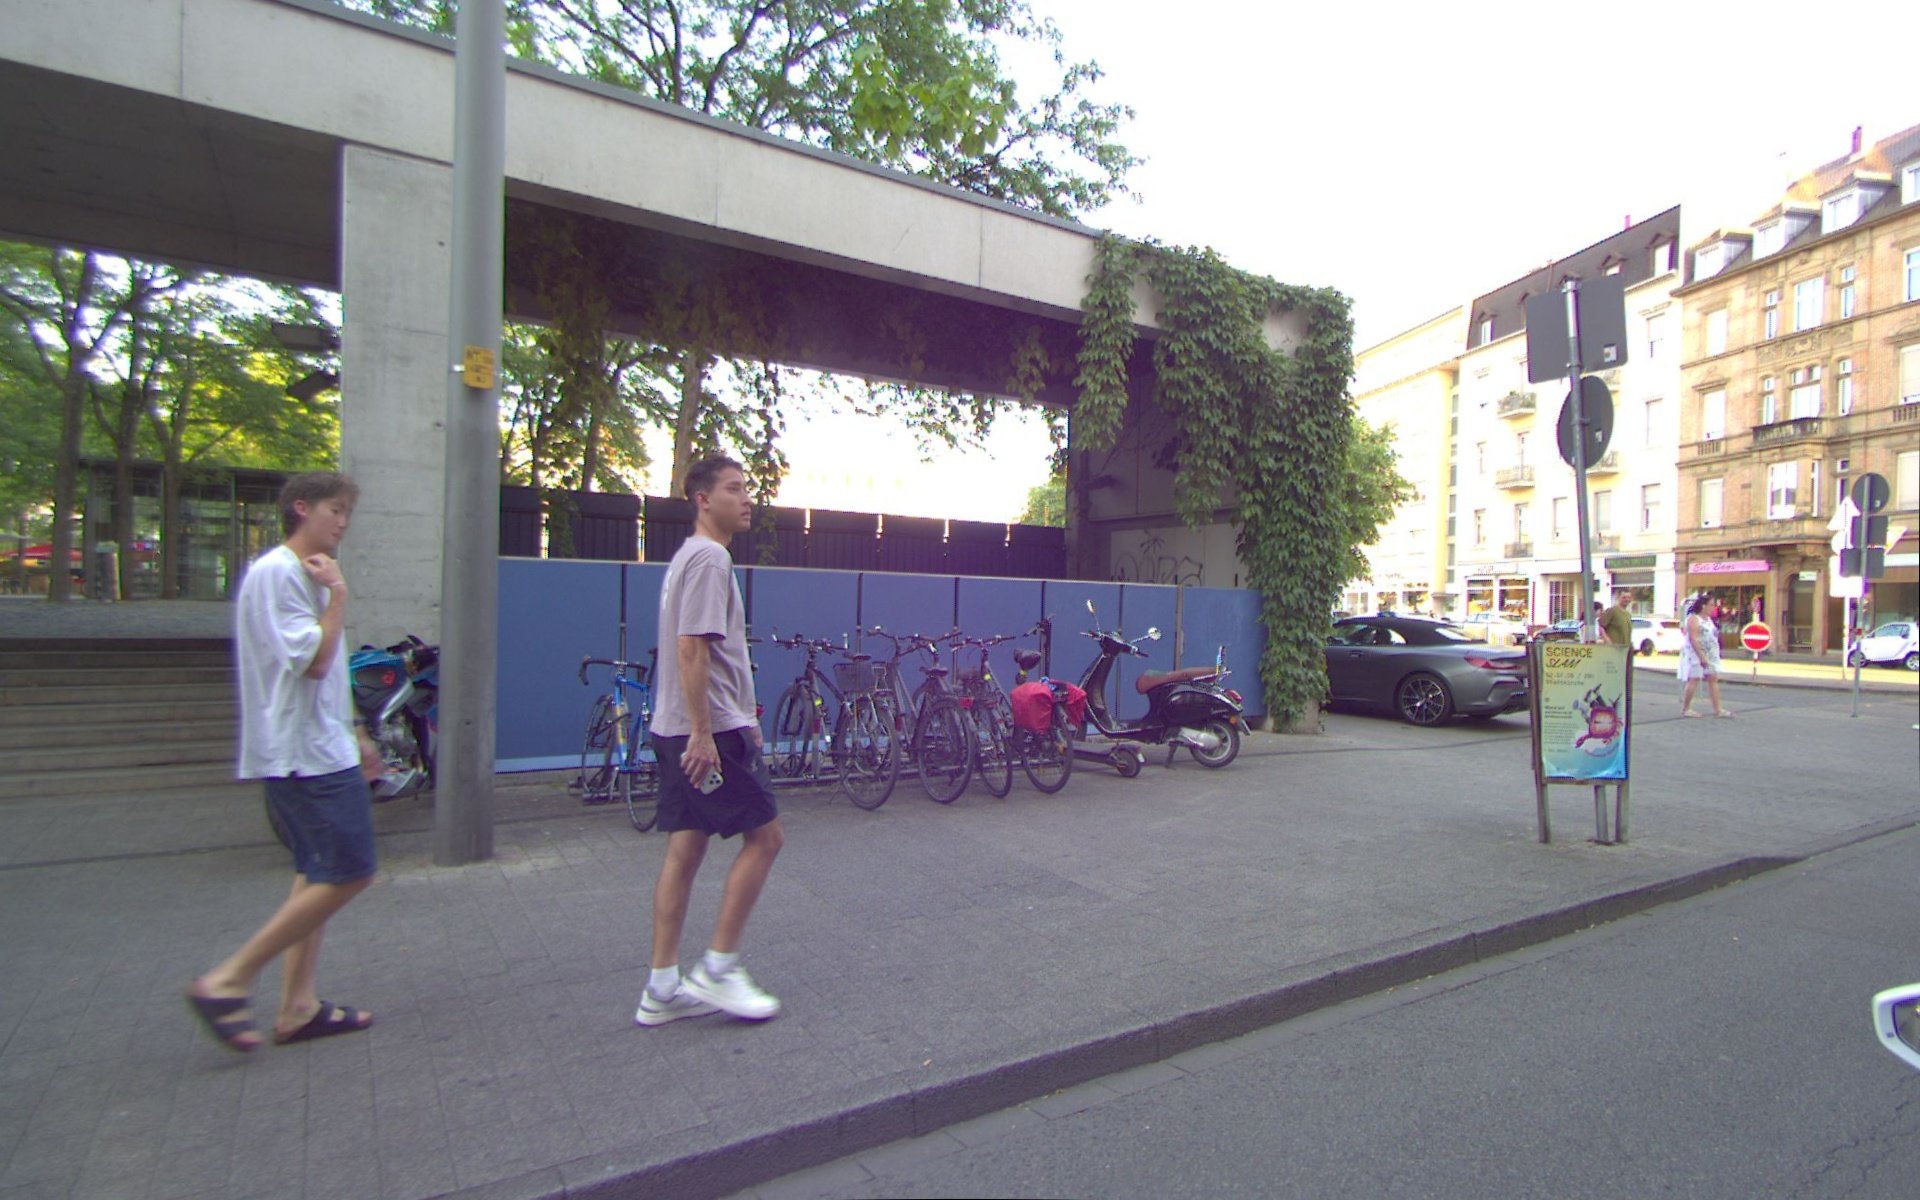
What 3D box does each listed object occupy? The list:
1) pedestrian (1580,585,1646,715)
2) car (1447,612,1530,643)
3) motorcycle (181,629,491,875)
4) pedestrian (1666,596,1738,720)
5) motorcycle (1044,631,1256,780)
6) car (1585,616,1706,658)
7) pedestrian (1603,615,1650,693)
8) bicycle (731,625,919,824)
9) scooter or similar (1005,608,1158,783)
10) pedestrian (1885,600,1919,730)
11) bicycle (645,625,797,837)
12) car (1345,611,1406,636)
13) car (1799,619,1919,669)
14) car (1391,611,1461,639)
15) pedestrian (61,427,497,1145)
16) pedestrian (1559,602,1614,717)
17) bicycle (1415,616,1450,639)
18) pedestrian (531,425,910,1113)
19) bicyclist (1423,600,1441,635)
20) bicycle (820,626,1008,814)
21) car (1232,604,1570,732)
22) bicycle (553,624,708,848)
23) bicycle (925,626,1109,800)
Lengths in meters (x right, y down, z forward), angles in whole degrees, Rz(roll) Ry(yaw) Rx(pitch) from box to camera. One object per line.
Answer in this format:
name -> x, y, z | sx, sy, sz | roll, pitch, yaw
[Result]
pedestrian -> 9.860, 0.743, 15.175 | 0.625, 1.907, 0.581 | 1, 0, -26
car -> 27.563, 1.402, 52.526 | 1.767, 1.530, 3.994 | 2, -1, -9
motorcycle -> -3.383, 0.757, 5.675 | 0.750, 1.078, 1.804 | 2, 1, -6
pedestrian -> 10.875, 0.827, 14.741 | 0.644, 1.769, 0.674 | 1, 0, 17
motorcycle -> 1.662, 0.886, 8.859 | 1.718, 1.116, 0.566 | 3, 1, 24
car -> 26.545, 1.386, 39.075 | 1.847, 1.492, 3.998 | 1, 0, -3
pedestrian -> 12.605, 1.007, 19.003 | 0.461, 1.428, 0.537 | 2, 1, -1
bicycle -> -1.000, 0.790, 7.039 | 0.495, 1.122, 1.781 | 1, 2, -36
scooter or similar -> 0.982, 0.741, 8.274 | 1.191, 1.291, 0.419 | 3, 2, 43
pedestrian -> 13.342, 0.888, 13.688 | 0.599, 1.749, 0.892 | -1, 2, -25
bicycle -> -1.635, 0.776, 6.658 | 0.494, 1.122, 1.786 | 1, 1, -29
car -> 26.458, 1.485, 64.061 | 1.767, 1.530, 3.994 | 2, -1, -9
car -> 30.730, 1.445, 33.527 | 1.767, 1.530, 3.994 | 2, -1, -9
car -> 26.926, 1.441, 58.157 | 1.767, 1.530, 3.994 | 2, -1, -9
pedestrian -> -2.058, 0.480, 3.145 | 0.998, 1.837, 0.737 | 1, 1, -33
pedestrian -> 9.234, 0.862, 14.799 | 0.514, 1.665, 0.498 | 1, 0, -30
bicycle -> 24.638, 1.440, 52.431 | 0.529, 1.122, 1.793 | 1, 0, -18
pedestrian -> -0.818, 0.474, 3.380 | 1.038, 1.919, 0.740 | 1, 2, -31
bicyclist -> 24.649, 0.926, 52.435 | 0.517, 1.780, 0.617 | 1, 1, -18
bicycle -> -0.393, 0.802, 7.381 | 0.495, 1.122, 1.783 | 1, 2, -34
car -> 6.054, 0.829, 14.149 | 1.875, 1.521, 3.954 | 1, 0, -39
bicycle -> -2.128, 0.763, 6.338 | 0.495, 1.122, 1.784 | 1, 1, -32
bicycle -> 0.389, 0.816, 7.938 | 0.494, 1.122, 1.784 | 1, 1, -31
